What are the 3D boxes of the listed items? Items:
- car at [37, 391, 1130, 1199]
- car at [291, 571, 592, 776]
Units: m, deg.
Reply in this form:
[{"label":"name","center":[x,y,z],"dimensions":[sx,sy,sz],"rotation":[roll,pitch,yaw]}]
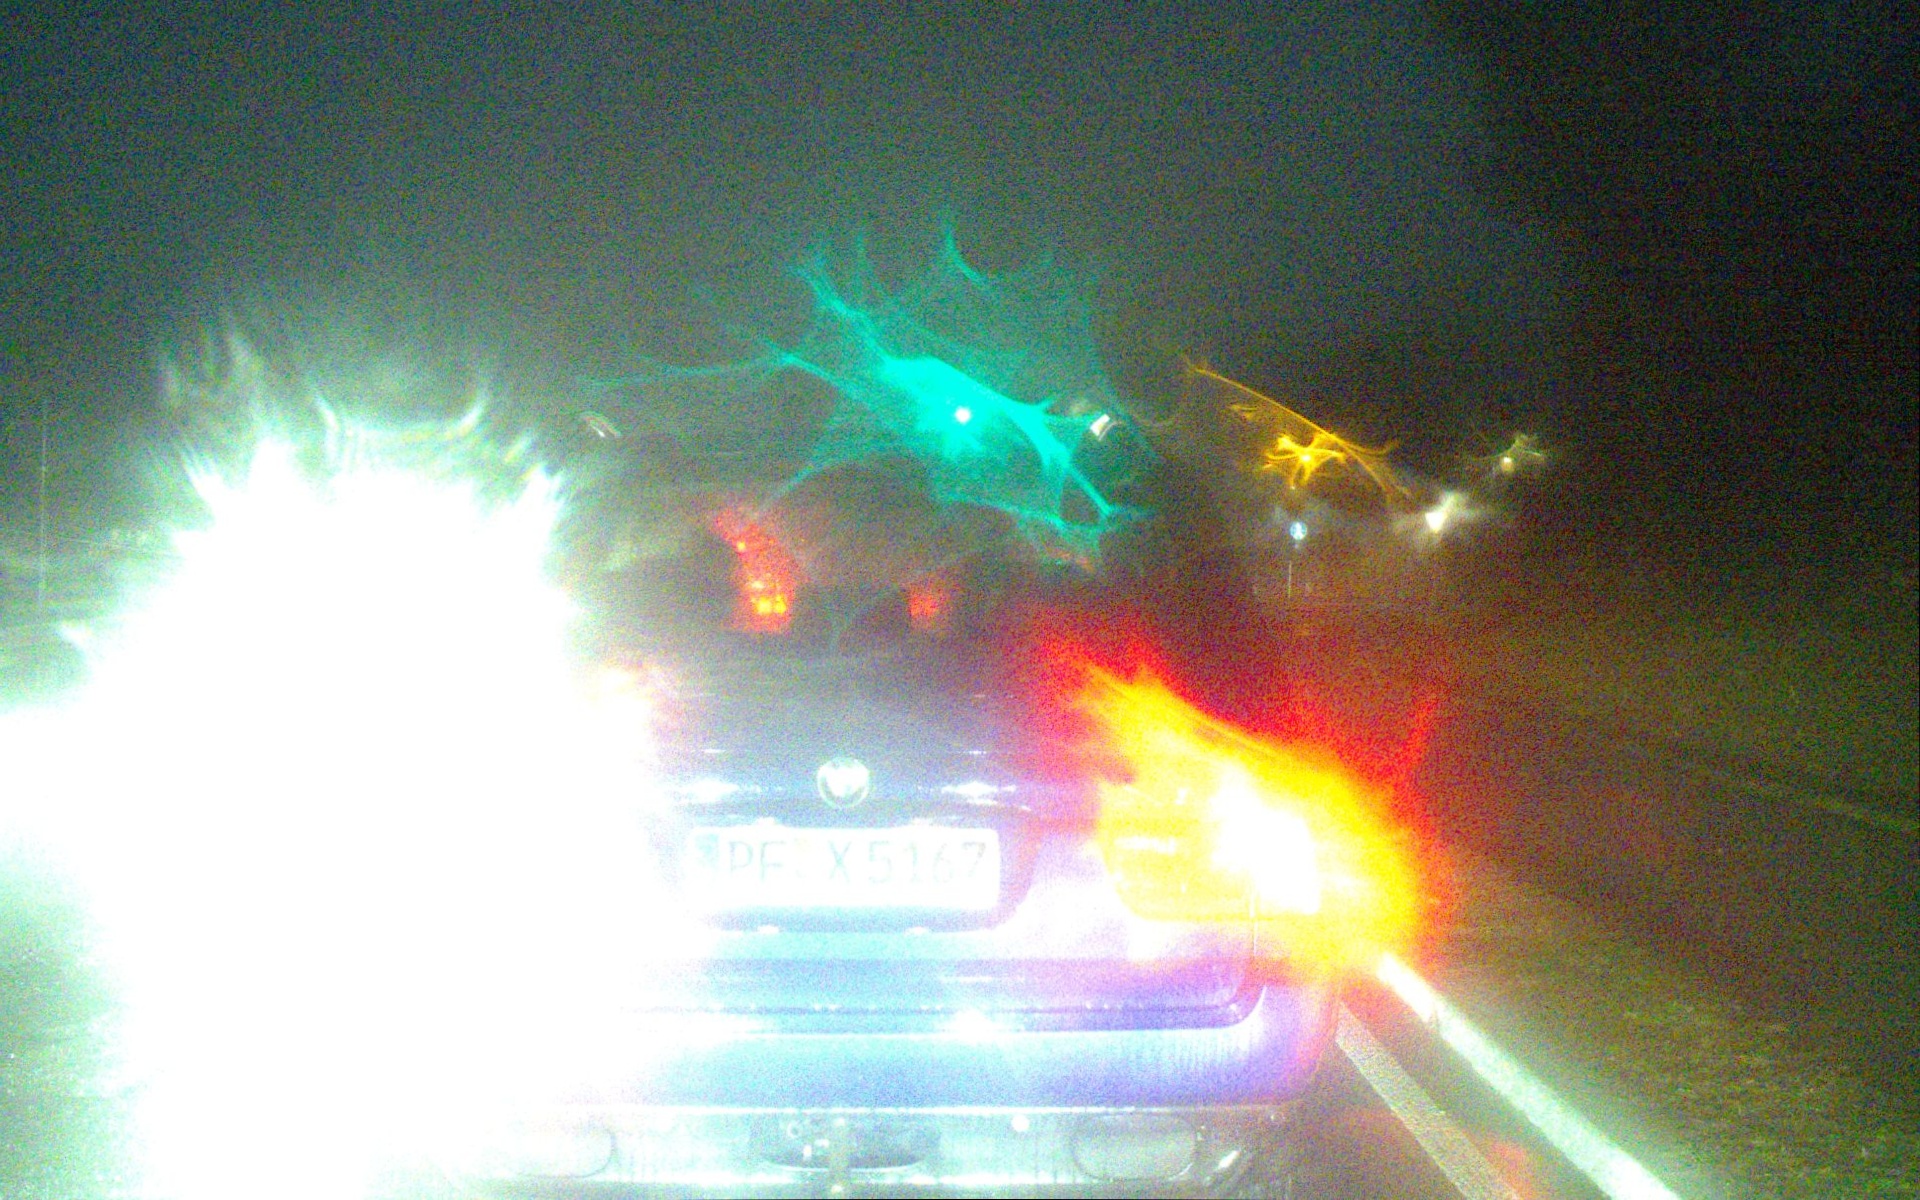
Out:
[{"label":"car","center":[-0.622,0.500,7.617],"dimensions":[1.775,1.706,4.000],"rotation":[1,1,0]},{"label":"car","center":[-4.198,0.542,28.449],"dimensions":[1.903,1.465,4.275],"rotation":[2,1,-1]}]
